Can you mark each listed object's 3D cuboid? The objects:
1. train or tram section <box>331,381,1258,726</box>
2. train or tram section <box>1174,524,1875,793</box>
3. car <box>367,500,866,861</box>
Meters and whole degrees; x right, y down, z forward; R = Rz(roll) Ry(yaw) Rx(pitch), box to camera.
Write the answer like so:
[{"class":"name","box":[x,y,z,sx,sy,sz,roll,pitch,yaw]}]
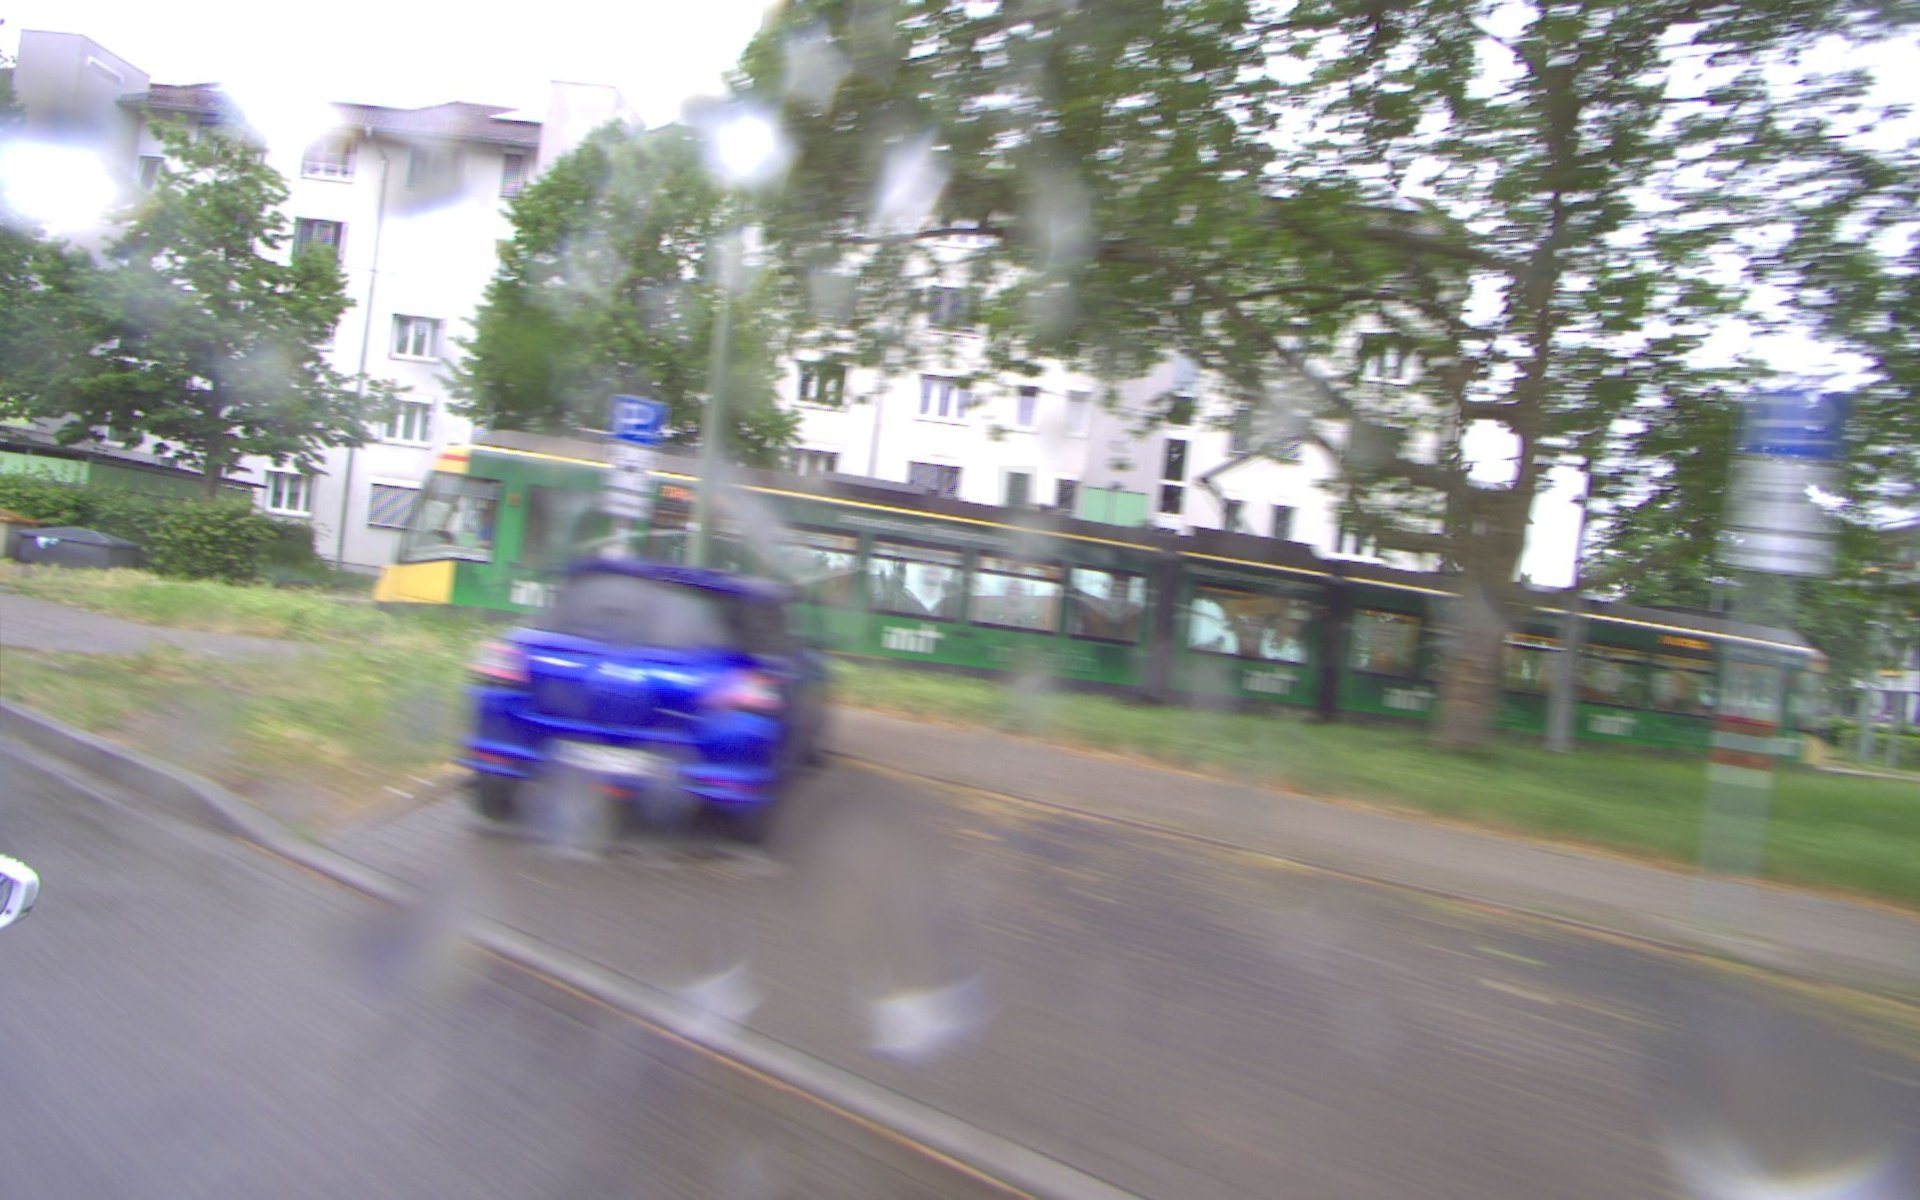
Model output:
[{"class":"train or tram section","box":[-2.180,-0.449,17.535,14.502,3.631,2.709,7,-1,-13]},{"class":"train or tram section","box":[11.852,1.374,20.888,14.502,3.631,2.709,7,-1,-13]},{"class":"car","box":[-1.875,0.408,6.947,1.964,1.501,3.998,8,0,-1]}]
